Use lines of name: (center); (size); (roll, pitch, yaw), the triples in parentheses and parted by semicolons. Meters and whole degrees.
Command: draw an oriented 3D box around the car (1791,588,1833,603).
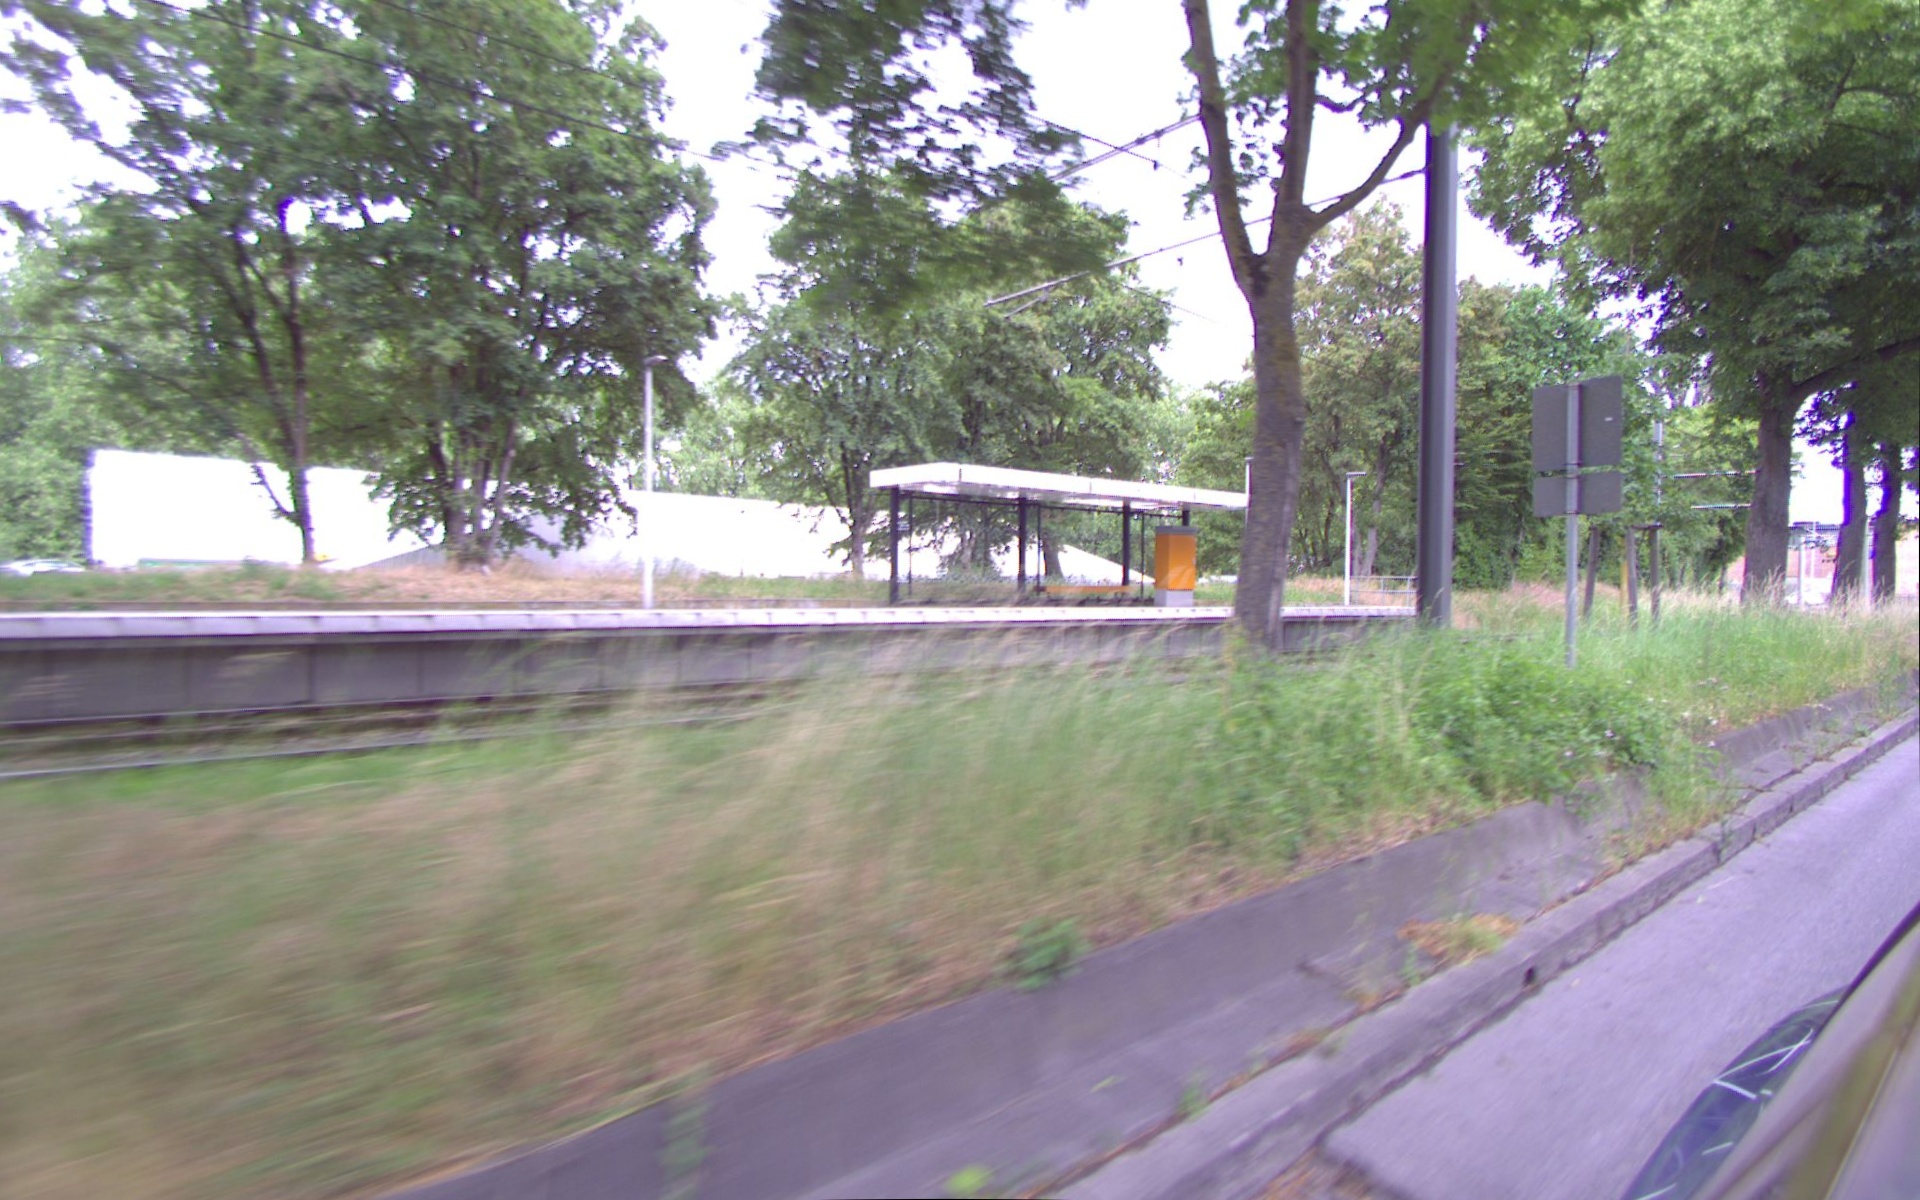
car: (88.759, -0.511, 105.426); (1.559, 1.484, 3.689); (1, 1, 7)
